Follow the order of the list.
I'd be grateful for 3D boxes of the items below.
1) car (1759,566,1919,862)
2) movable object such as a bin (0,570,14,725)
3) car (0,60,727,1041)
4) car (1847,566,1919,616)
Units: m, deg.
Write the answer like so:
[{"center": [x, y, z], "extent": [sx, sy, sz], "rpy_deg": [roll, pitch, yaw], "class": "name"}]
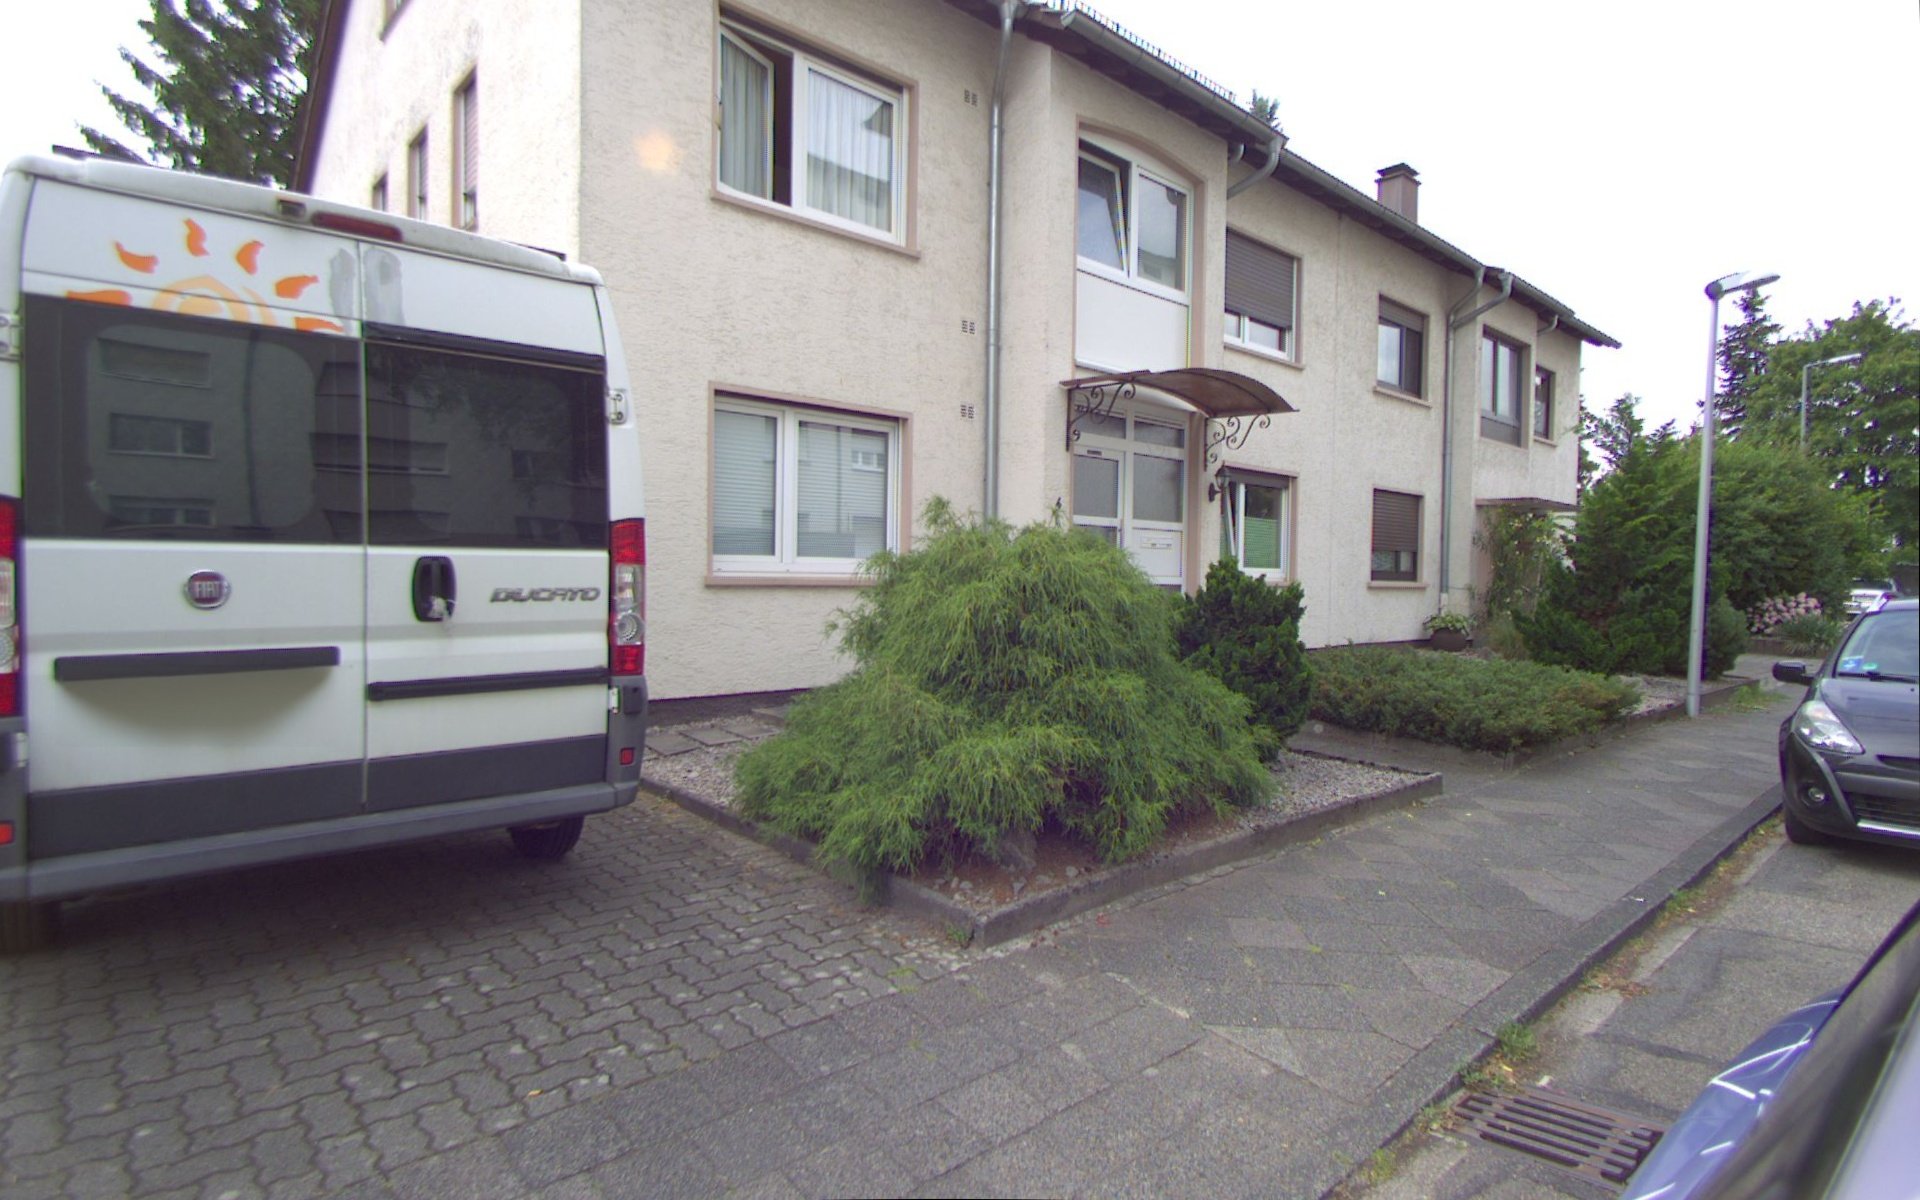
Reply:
[{"center": [6.438, 0.551, 6.275], "extent": [4.122, 1.476, 1.831], "rpy_deg": [-1, 1, -44], "class": "car"}, {"center": [-7.039, 0.331, 7.129], "extent": [0.537, 1.069, 0.456], "rpy_deg": [-1, 4, -43], "class": "movable object such as a bin"}, {"center": [-3.445, -0.261, 5.241], "extent": [2.199, 2.573, 5.098], "rpy_deg": [0, 3, -41], "class": "car"}, {"center": [30.419, -0.348, 33.198], "extent": [3.936, 1.484, 1.702], "rpy_deg": [-3, 4, -45], "class": "car"}]
